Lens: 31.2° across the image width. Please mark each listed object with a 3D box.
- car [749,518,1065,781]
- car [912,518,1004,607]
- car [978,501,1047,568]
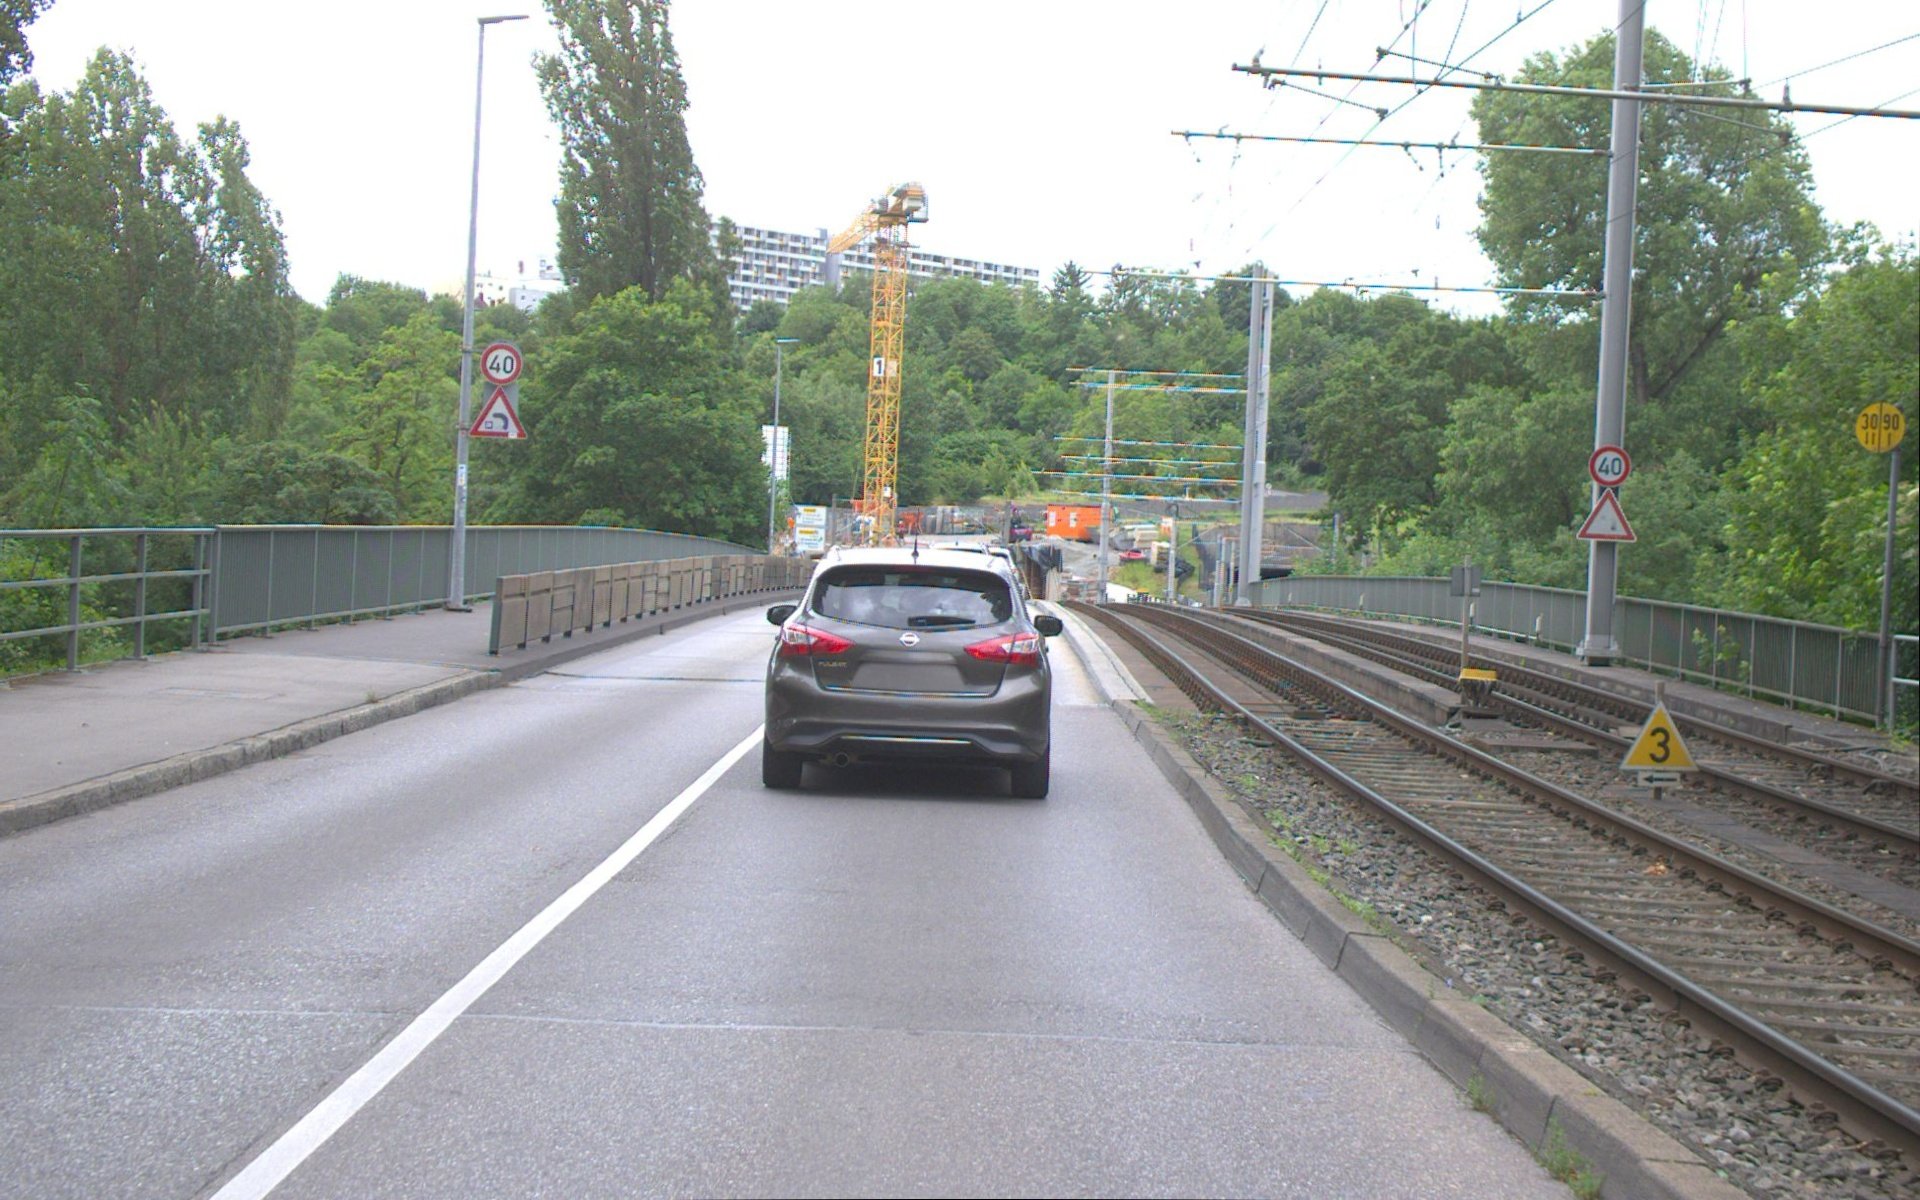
[{"bbox_3d":[-0.416,0.286,22.428,1.829,1.505,4.000,2,0,-3],"label":"car"},{"bbox_3d":[-0.067,-0.784,69.270,1.680,1.601,4.310,4,2,-1],"label":"car"},{"bbox_3d":[1.386,-1.756,90.636,1.680,1.601,4.309,4,2,1],"label":"car"}]
